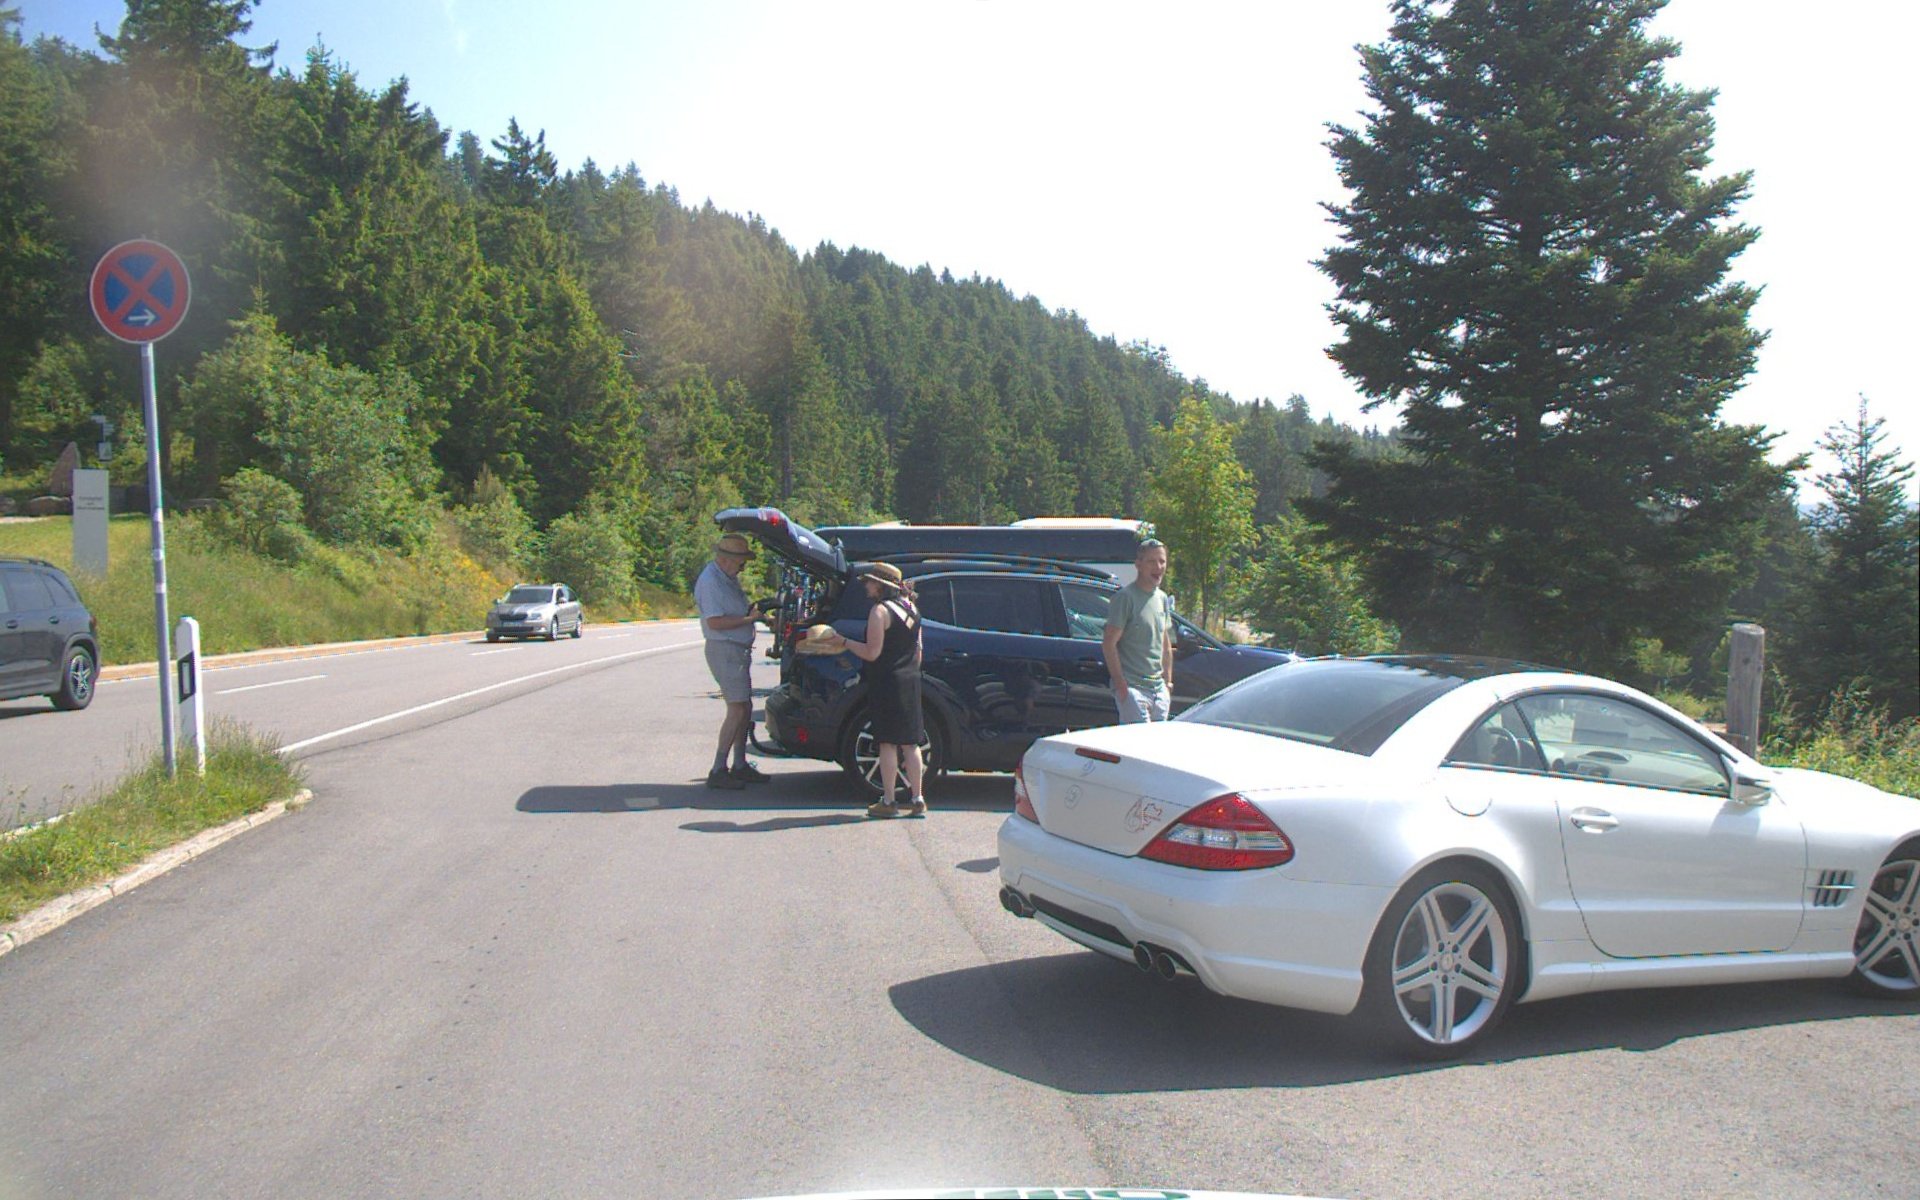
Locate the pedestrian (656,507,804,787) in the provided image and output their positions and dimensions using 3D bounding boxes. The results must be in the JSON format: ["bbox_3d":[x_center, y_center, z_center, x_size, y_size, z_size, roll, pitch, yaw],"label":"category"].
[{"bbox_3d":[-1.638,0.301,11.808,0.721,1.903,0.757,3,3,27],"label":"pedestrian"}]

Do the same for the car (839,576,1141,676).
[{"bbox_3d":[0.383,0.341,23.744,4.159,1.291,1.837,-1,1,-4],"label":"car"}]

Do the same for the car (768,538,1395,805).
[{"bbox_3d":[0.787,0.516,12.210,4.264,1.654,1.866,3,-1,-9],"label":"car"}]

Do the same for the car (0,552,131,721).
[{"bbox_3d":[-10.570,0.382,16.941,1.954,1.676,4.565,-2,1,-2],"label":"car"}]

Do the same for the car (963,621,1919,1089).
[{"bbox_3d":[2.348,0.838,6.698,4.344,1.318,1.741,2,1,-27],"label":"car"}]

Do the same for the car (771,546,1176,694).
[{"bbox_3d":[0.160,0.221,20.837,4.848,1.725,1.945,-1,1,-1],"label":"car"}]

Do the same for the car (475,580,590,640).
[{"bbox_3d":[-11.335,0.221,44.177,1.840,1.500,4.714,0,1,0],"label":"car"}]

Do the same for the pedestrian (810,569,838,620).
[{"bbox_3d":[-4.369,-0.186,53.132,0.754,1.613,0.773,-1,0,3],"label":"pedestrian"}]

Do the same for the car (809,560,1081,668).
[{"bbox_3d":[-0.266,0.199,26.391,4.159,1.581,1.837,-1,1,-4],"label":"car"}]

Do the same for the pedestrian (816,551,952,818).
[{"bbox_3d":[-0.487,0.524,10.574,0.704,1.641,0.533,1,-1,-24],"label":"pedestrian"}]

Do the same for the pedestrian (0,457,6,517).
[{"bbox_3d":[-31.509,-3.671,53.760,0.667,1.910,0.541,-1,1,29],"label":"pedestrian"}]

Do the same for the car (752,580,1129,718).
[{"bbox_3d":[-0.279,0.531,18.591,4.007,1.400,1.698,2,0,-10],"label":"car"}]

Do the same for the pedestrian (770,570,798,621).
[{"bbox_3d":[-5.659,-0.150,53.199,0.754,1.613,0.773,-1,0,3],"label":"pedestrian"}]

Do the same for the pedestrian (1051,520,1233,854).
[{"bbox_3d":[1.050,0.479,9.583,0.740,1.831,0.727,1,-1,-36],"label":"pedestrian"}]

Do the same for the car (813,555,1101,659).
[{"bbox_3d":[-0.094,0.102,29.521,4.934,1.680,2.047,-1,1,-4],"label":"car"}]

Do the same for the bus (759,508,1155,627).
[{"bbox_3d":[-0.010,-1.052,54.946,12.815,3.594,3.046,-1,1,7],"label":"bus"}]
